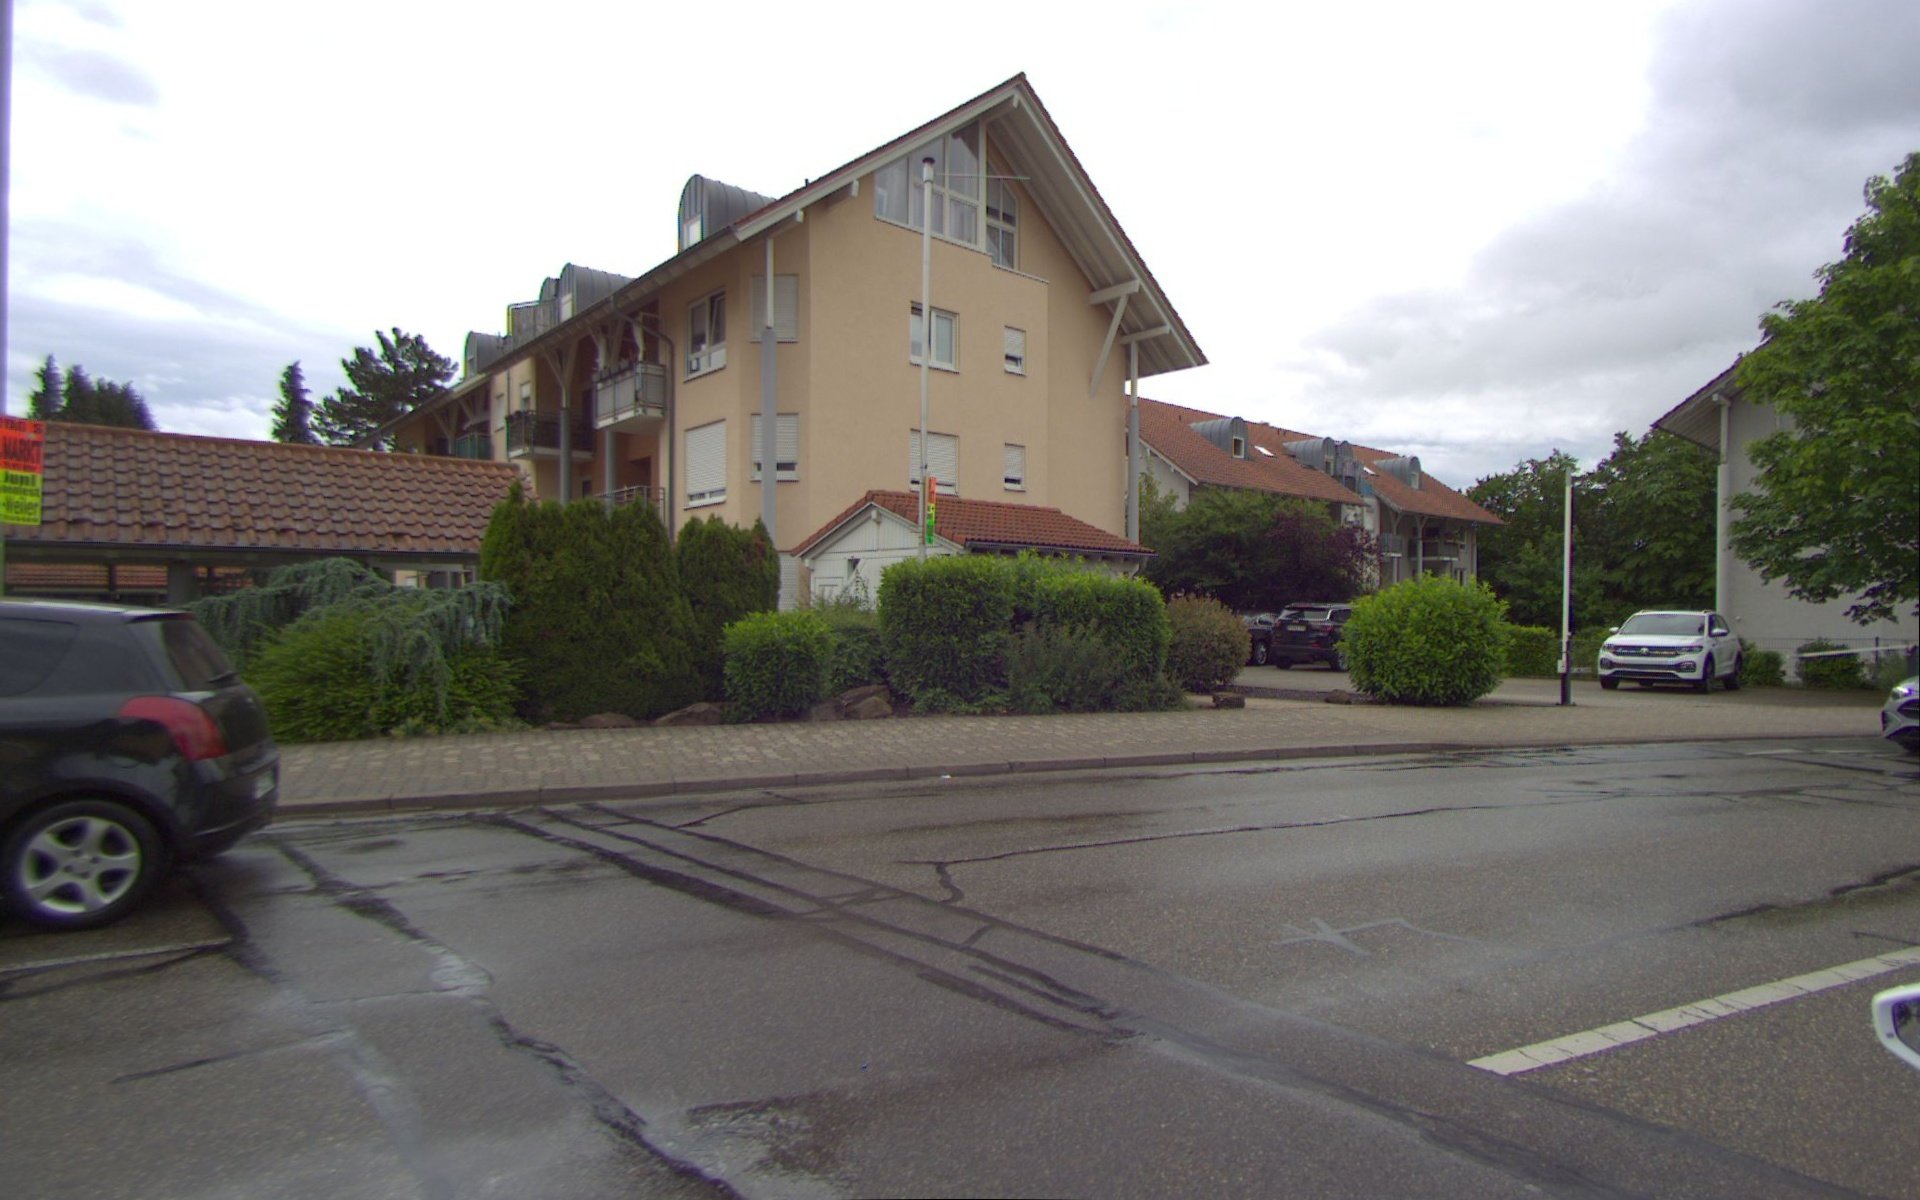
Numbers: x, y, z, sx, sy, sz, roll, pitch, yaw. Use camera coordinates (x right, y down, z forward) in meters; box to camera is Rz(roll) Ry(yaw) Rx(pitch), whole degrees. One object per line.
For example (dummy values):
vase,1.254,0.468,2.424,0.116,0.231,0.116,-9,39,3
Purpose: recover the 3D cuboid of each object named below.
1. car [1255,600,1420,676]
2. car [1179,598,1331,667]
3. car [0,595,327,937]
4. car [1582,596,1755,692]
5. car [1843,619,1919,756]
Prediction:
car,9.436,0.953,25.035,3.963,1.672,1.979,4,-1,-37
car,8.109,0.905,27.500,3.964,1.672,1.979,4,-1,-38
car,-5.156,0.713,4.582,3.644,1.441,1.583,0,-1,-25
car,14.125,0.873,19.952,3.972,1.672,1.975,4,-1,-42
car,12.221,0.926,10.863,4.414,1.409,1.902,0,1,-15
